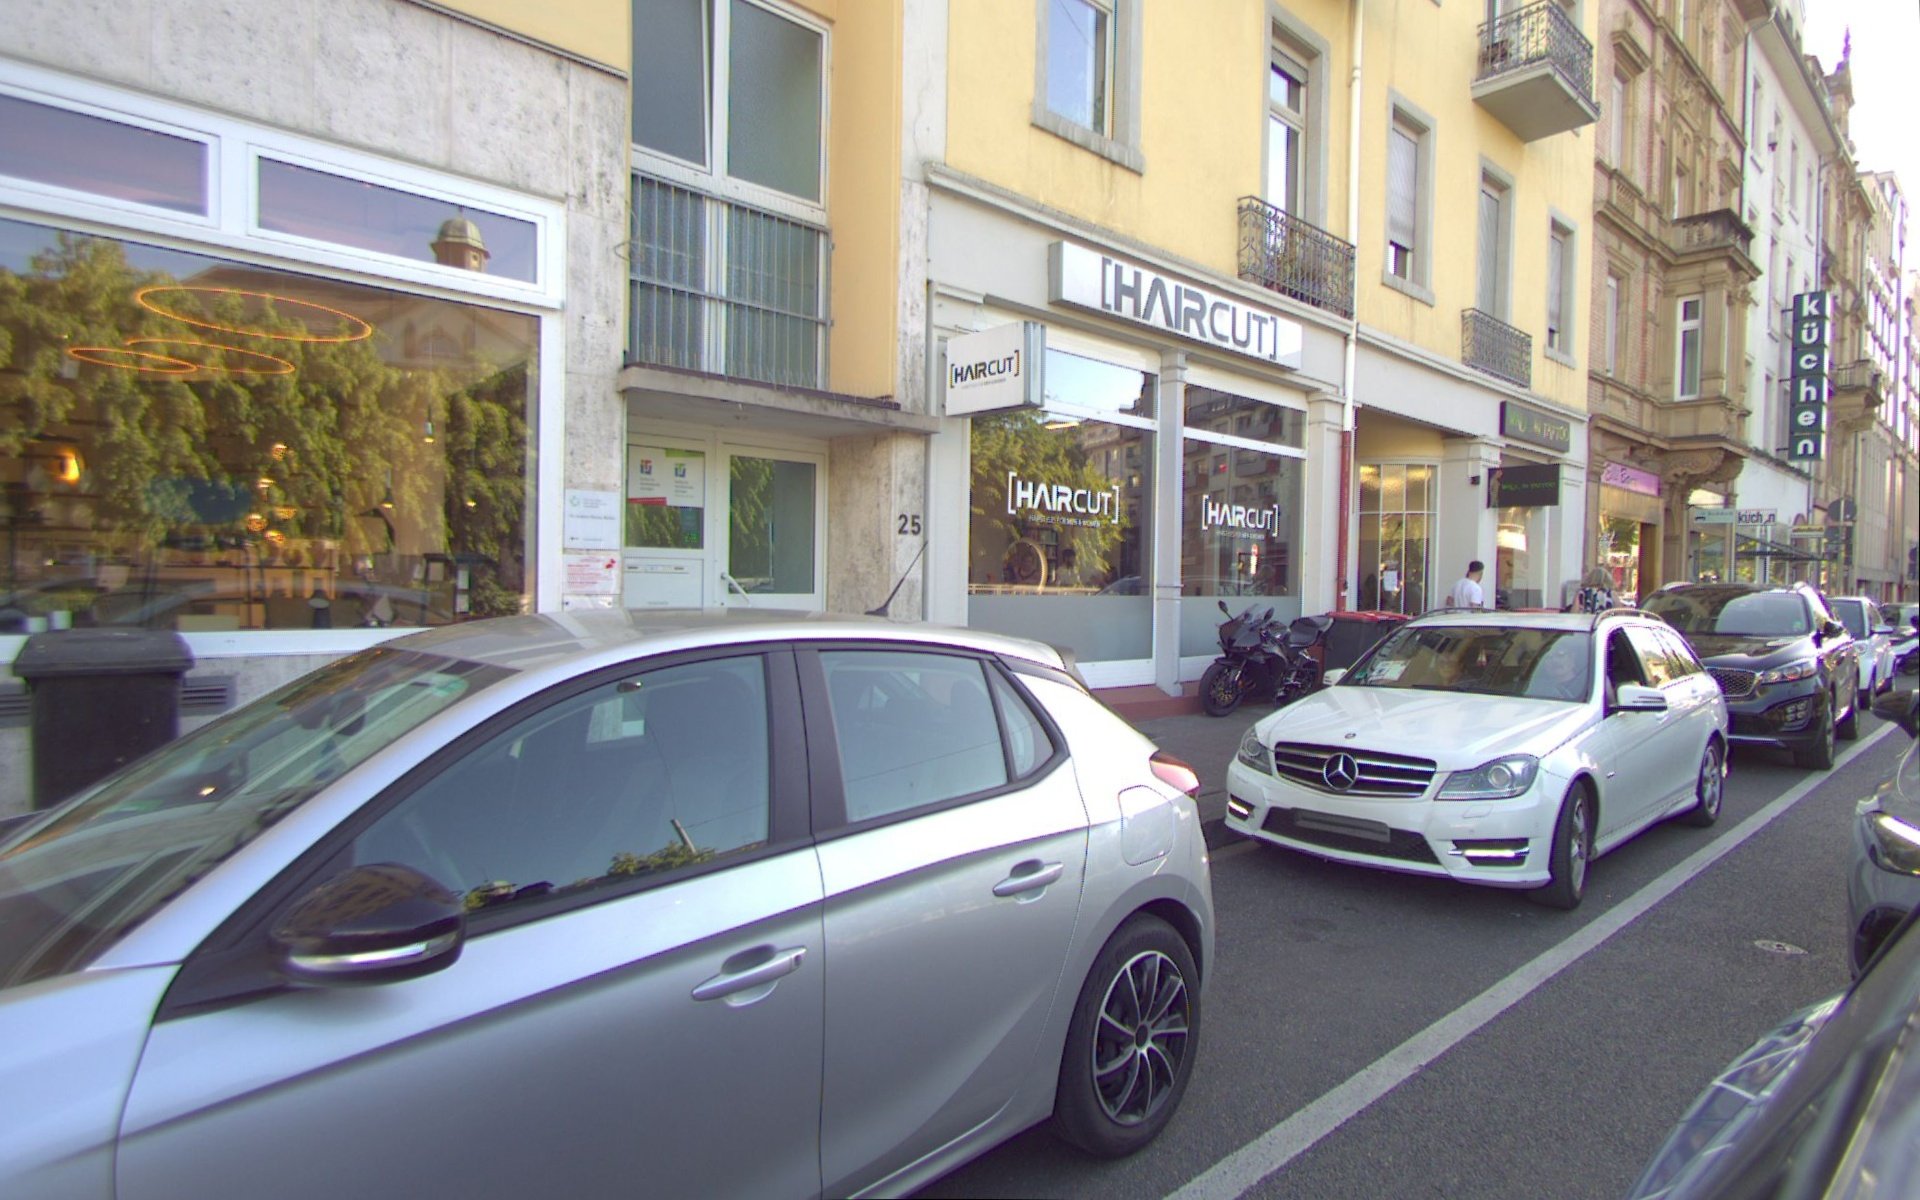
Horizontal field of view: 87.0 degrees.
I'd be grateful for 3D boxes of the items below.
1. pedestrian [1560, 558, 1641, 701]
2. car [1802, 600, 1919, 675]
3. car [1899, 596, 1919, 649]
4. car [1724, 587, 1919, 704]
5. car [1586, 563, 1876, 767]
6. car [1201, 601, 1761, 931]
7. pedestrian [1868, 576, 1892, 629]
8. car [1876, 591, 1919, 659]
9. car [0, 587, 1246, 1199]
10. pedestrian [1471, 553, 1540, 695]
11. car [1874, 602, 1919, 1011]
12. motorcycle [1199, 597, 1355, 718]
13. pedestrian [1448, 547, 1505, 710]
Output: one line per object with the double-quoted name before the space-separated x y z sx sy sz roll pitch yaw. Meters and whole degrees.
"pedestrian" 7.784 0.341 12.307 0.717 1.674 0.596 1 1 44
"car" 18.061 0.676 19.896 4.016 1.282 1.800 -1 1 -42
"car" 26.630 0.582 27.159 3.773 1.357 1.800 -1 1 -42
"car" 13.149 0.577 15.346 4.016 1.546 1.800 -1 0 -42
"car" 7.996 0.504 10.344 4.176 1.659 1.799 -1 1 -45
"car" 3.531 0.720 6.448 4.302 1.376 1.703 -1 1 -41
"pedestrian" 33.173 0.080 36.484 0.653 1.874 0.574 0 0 -40
"car" 22.242 0.534 23.054 4.016 1.450 1.657 -1 0 -42
"car" -1.015 0.695 2.292 3.597 1.445 1.549 -1 1 -42
"pedestrian" 7.404 0.314 13.739 0.565 1.874 0.664 0 0 -39
"car" 5.250 0.703 4.223 3.933 1.376 1.800 -1 1 -43
"motorcycle" 3.290 0.543 10.414 1.920 1.091 0.567 -1 4 -41
"pedestrian" 6.541 0.344 12.839 0.367 2.008 0.693 1 1 5
